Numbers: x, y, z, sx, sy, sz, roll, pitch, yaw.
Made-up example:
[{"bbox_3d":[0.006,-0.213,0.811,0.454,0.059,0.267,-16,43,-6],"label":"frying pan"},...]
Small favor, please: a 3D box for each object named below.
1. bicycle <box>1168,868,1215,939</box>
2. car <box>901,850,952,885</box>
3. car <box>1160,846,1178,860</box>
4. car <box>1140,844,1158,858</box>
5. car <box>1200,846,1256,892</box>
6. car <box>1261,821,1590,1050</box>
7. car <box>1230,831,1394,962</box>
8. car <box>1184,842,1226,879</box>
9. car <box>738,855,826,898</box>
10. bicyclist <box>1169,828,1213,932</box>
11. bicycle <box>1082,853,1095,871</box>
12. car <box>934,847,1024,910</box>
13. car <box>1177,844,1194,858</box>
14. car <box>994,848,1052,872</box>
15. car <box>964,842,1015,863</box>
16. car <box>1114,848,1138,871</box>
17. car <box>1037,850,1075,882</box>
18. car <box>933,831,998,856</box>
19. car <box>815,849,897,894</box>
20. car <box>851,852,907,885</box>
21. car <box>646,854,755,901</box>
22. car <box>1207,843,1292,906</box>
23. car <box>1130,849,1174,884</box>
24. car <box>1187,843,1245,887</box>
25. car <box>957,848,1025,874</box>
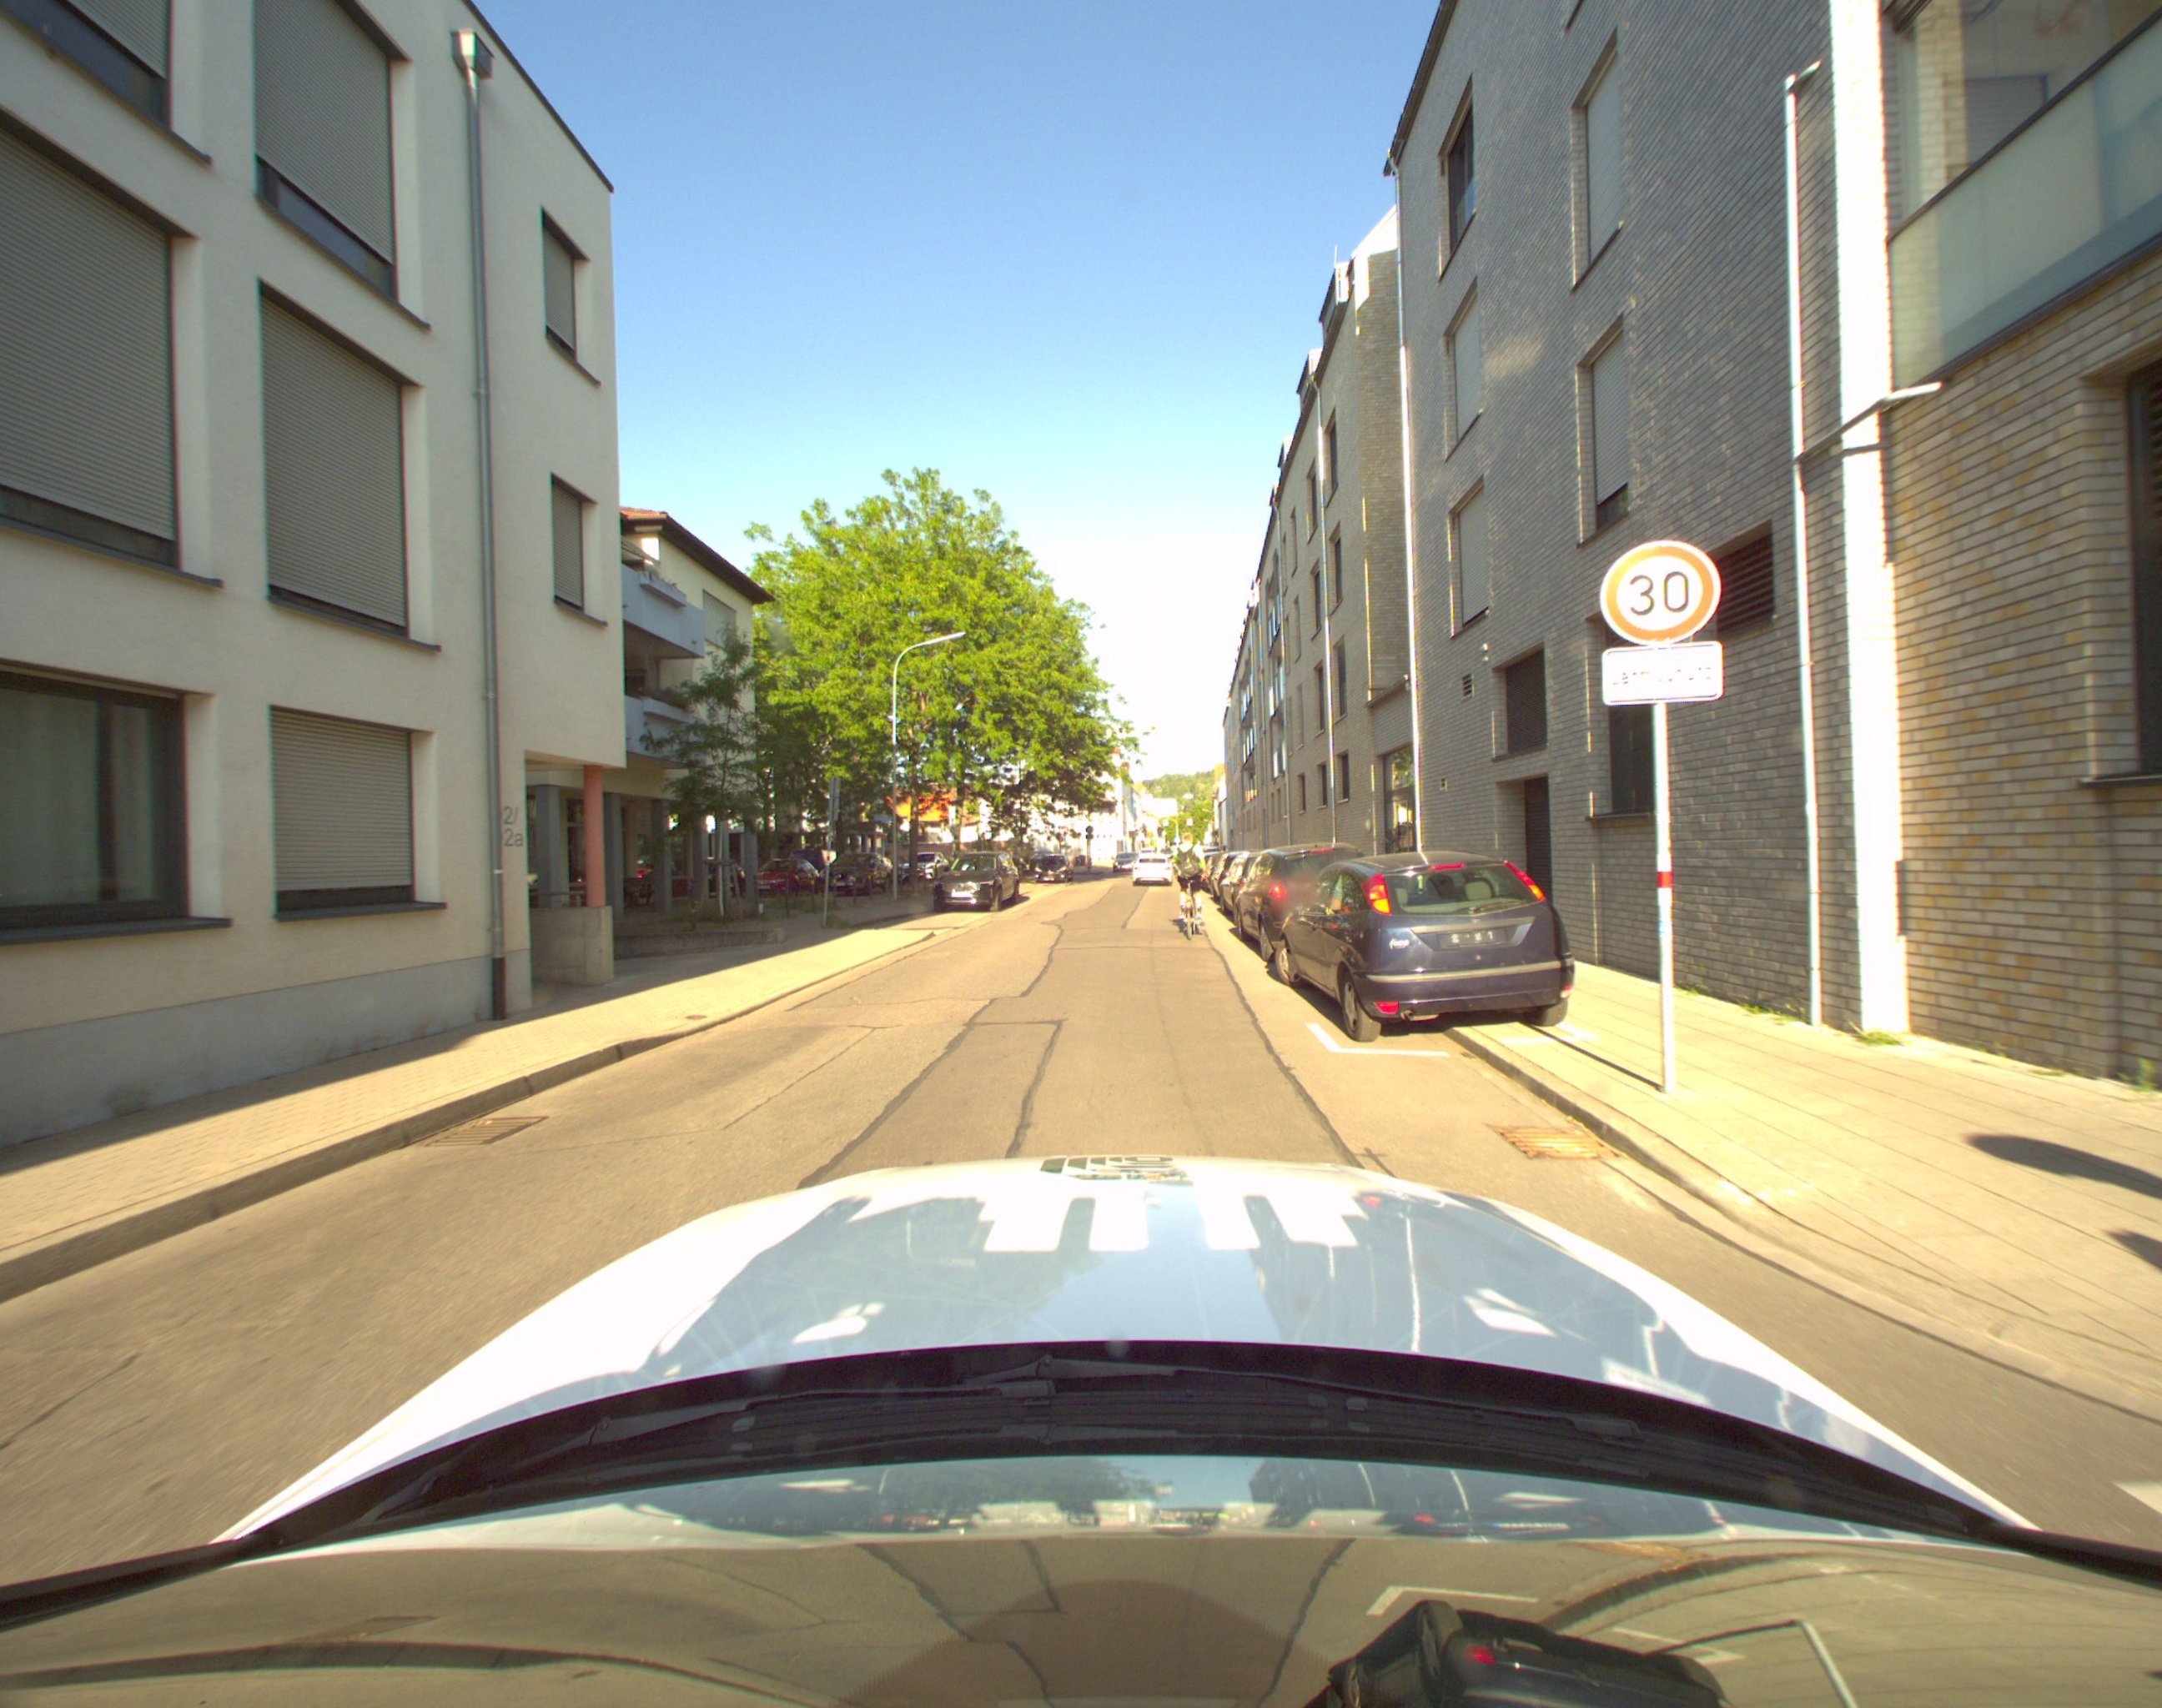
[{"bbox_3d":[1.964,0.835,14.678,0.695,1.130,2.406,-1,0,5],"label":"bicycle"},{"bbox_3d":[-8.098,0.673,43.024,1.783,1.689,3.967,1,1,2],"label":"car"},{"bbox_3d":[11.151,-0.193,103.360,1.934,1.587,4.633,-4,0,9],"label":"car"},{"bbox_3d":[8.344,-0.348,99.588,1.935,1.587,4.630,-4,0,7],"label":"car"},{"bbox_3d":[5.222,0.498,29.266,1.501,1.444,3.533,-4,0,4],"label":"car"},{"bbox_3d":[2.998,0.605,8.070,1.623,1.587,4.073,-4,0,3],"label":"car"},{"bbox_3d":[3.392,0.543,12.648,1.657,1.702,3.918,-1,0,4],"label":"car"},{"bbox_3d":[6.441,0.325,42.773,1.848,1.702,4.629,-4,0,6],"label":"car"},{"bbox_3d":[-11.305,0.794,31.079,1.712,1.448,4.145,1,1,2],"label":"car"},{"bbox_3d":[1.953,0.457,14.599,0.695,1.790,1.042,-1,0,4],"label":"bicyclist"},{"bbox_3d":[0.563,0.568,59.024,0.832,1.217,2.844,-1,0,3],"label":"bicycle"},{"bbox_3d":[-3.084,0.680,25.602,1.844,1.791,4.614,-1,0,5],"label":"car"},{"bbox_3d":[14.420,-0.453,112.267,1.846,1.791,4.609,-1,0,1],"label":"car"},{"bbox_3d":[-4.127,0.429,58.267,3.881,1.575,1.713,-1,0,6],"label":"car"},{"bbox_3d":[-7.243,-0.092,64.912,3.893,1.575,1.707,-1,0,-4],"label":"car"},{"bbox_3d":[3.244,0.399,59.160,1.657,1.575,3.917,-1,0,3],"label":"car"},{"bbox_3d":[-1.324,0.605,44.025,1.697,1.575,3.917,-1,0,3],"label":"car"},{"bbox_3d":[-7.647,-0.666,54.156,3.878,1.575,1.714,-1,0,8],"label":"car"},{"bbox_3d":[-8.648,0.608,31.731,1.851,1.587,4.622,1,1,1],"label":"car"},{"bbox_3d":[-10.607,0.726,42.959,1.850,1.587,3.674,1,1,3],"label":"car"},{"bbox_3d":[-14.322,0.824,30.990,1.850,1.587,4.624,1,1,2],"label":"car"},{"bbox_3d":[4.729,0.524,23.423,1.849,1.587,4.628,-1,0,5],"label":"car"},{"bbox_3d":[3.222,0.553,37.570,1.835,1.491,4.147,-1,0,2],"label":"car"},{"bbox_3d":[5.521,0.430,33.802,1.849,1.587,4.626,-4,0,4],"label":"car"},{"bbox_3d":[-5.629,0.439,51.248,3.876,1.575,1.715,-1,0,11],"label":"car"}]
